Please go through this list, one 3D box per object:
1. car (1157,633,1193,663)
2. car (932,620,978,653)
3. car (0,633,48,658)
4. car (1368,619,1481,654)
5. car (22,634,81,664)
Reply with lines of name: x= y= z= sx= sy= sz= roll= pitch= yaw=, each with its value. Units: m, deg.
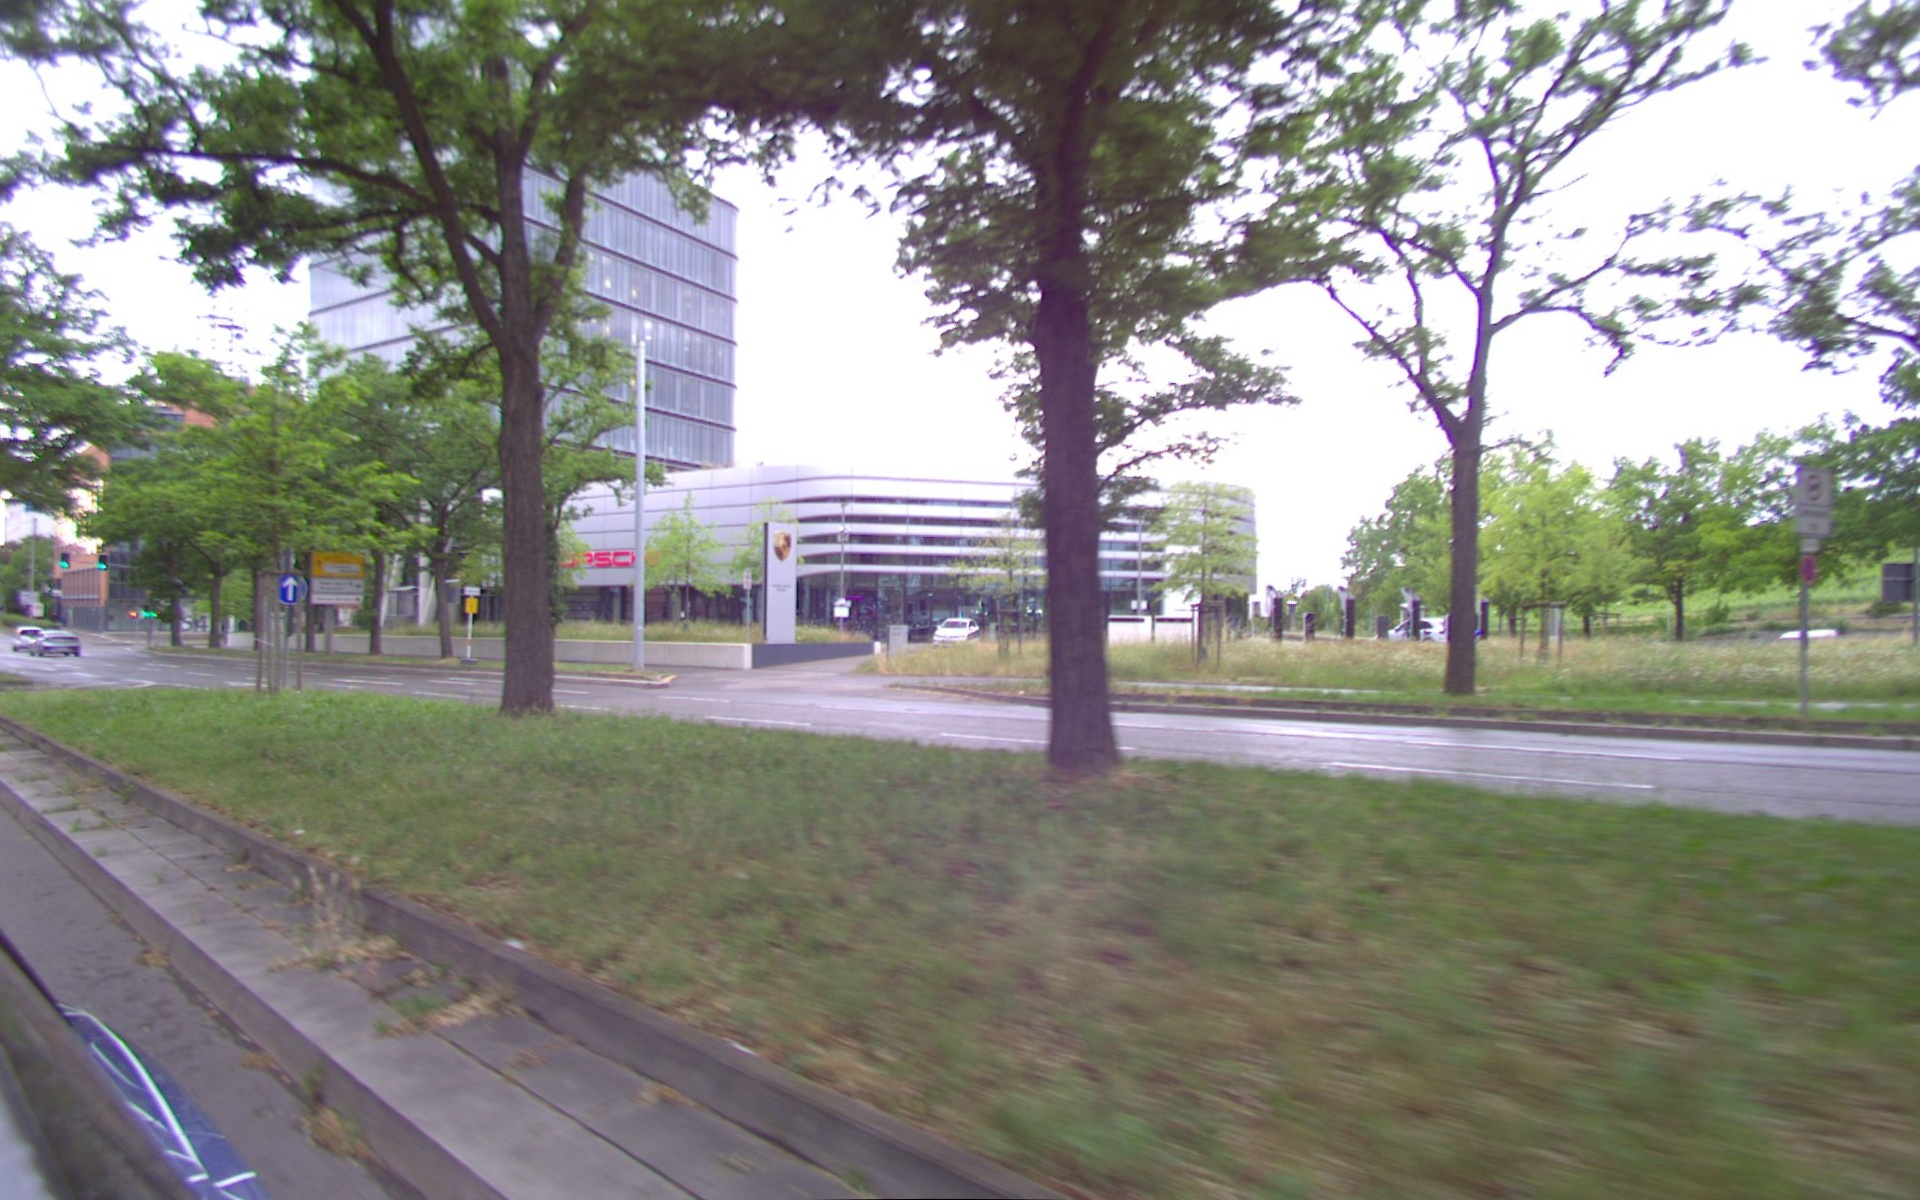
car: x=11.452 y=2.523 z=53.756 sx=1.605 sy=1.334 sz=3.980 roll=-1 pitch=1 yaw=16
car: x=-0.227 y=1.815 z=51.038 sx=1.758 sy=1.423 sz=3.990 roll=-1 pitch=1 yaw=8
car: x=-61.205 y=2.934 z=66.166 sx=3.996 sy=1.464 sz=1.761 roll=-1 pitch=1 yaw=39
car: x=18.784 y=1.447 z=41.079 sx=1.592 sy=1.254 sz=4.013 roll=-1 pitch=1 yaw=-29
car: x=-51.042 y=2.727 z=56.844 sx=3.996 sy=1.464 sz=1.870 roll=-1 pitch=1 yaw=39
